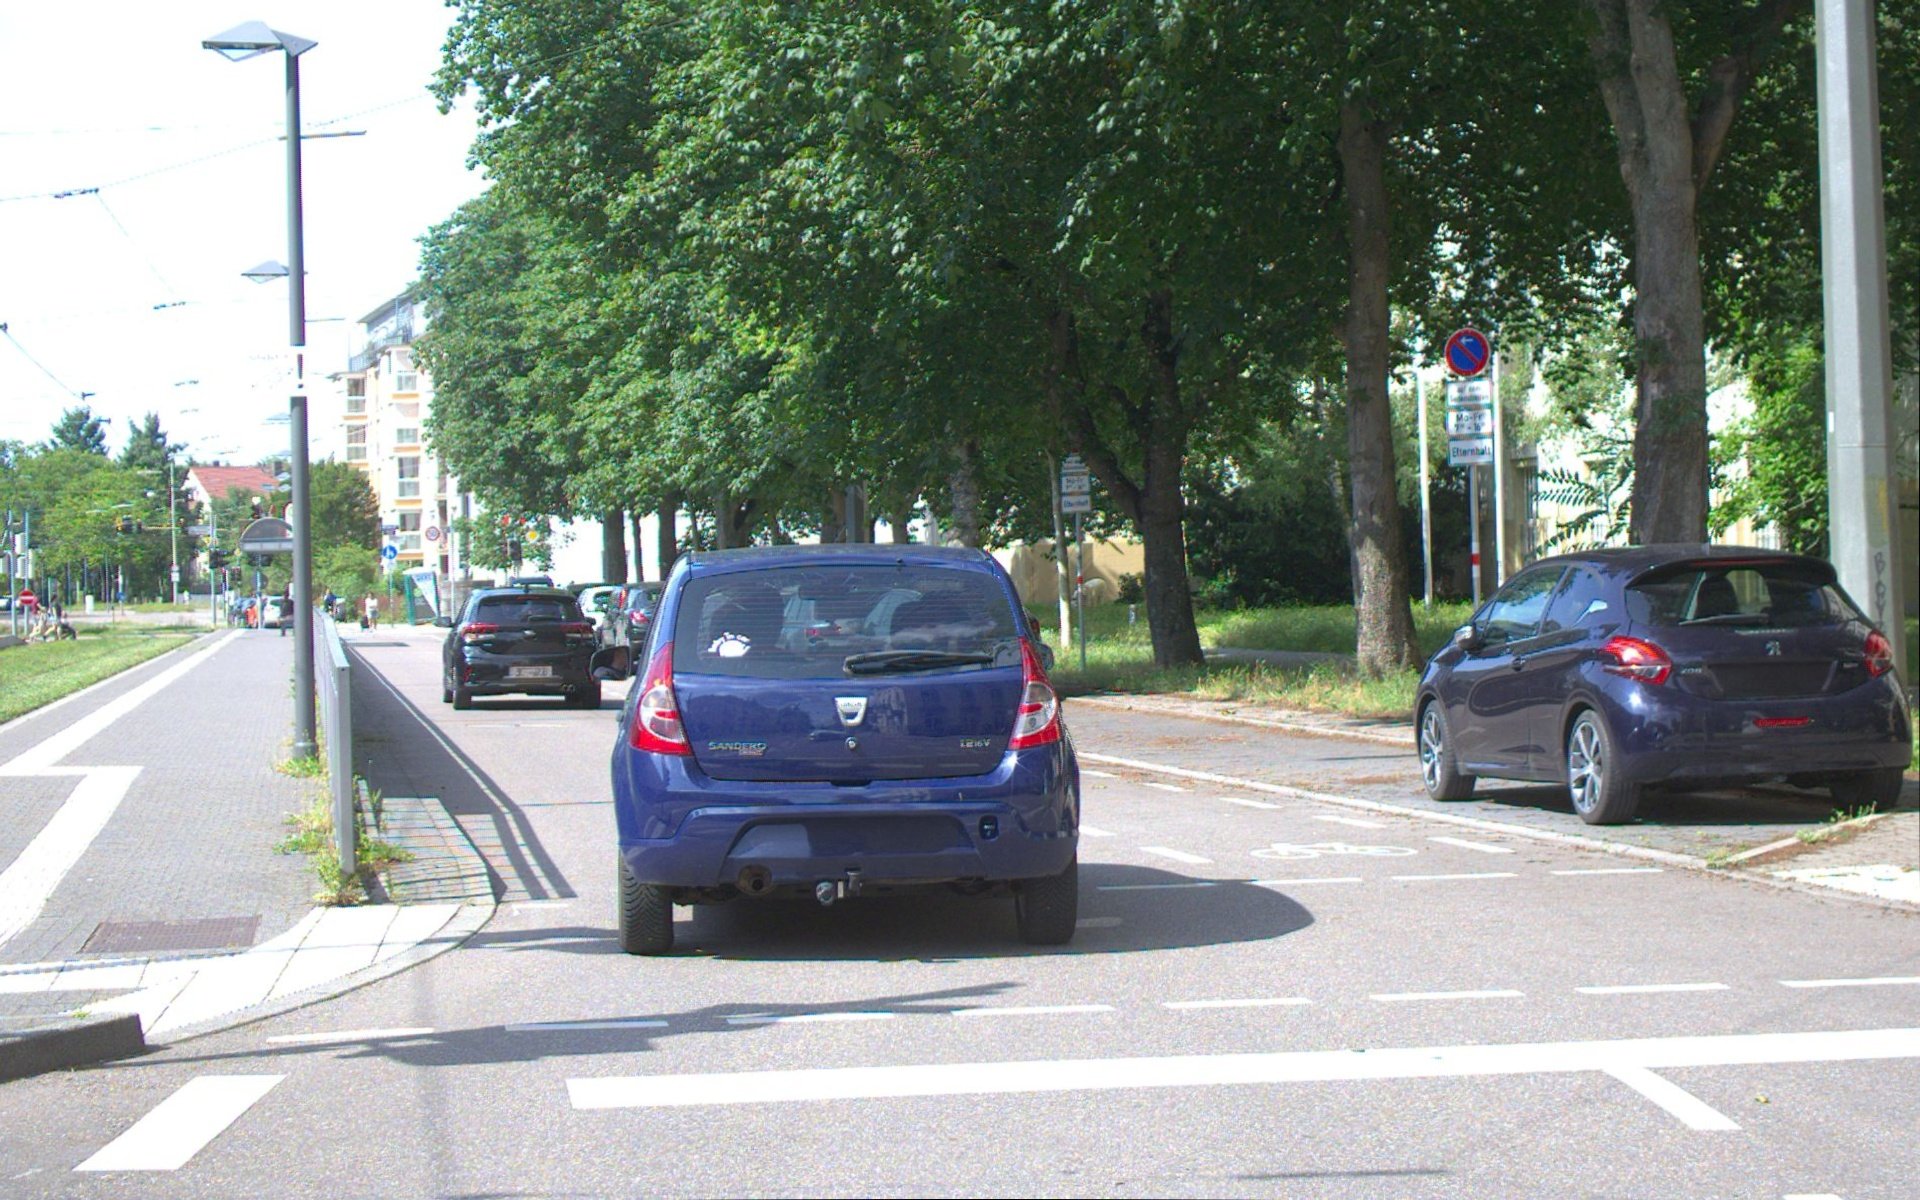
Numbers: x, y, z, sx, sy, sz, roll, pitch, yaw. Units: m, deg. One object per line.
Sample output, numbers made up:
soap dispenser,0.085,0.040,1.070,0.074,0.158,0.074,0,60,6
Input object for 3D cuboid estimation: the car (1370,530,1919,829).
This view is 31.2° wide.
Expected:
car,3.765,0.380,19.199,1.765,1.428,3.905,-2,1,-11

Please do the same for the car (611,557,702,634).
car,-6.510,-0.115,73.763,1.827,1.532,4.001,-2,1,-5

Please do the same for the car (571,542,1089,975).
car,-0.578,0.523,13.828,1.767,1.457,3.776,-1,1,-4

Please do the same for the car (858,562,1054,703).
car,-0.097,0.335,39.680,1.861,1.440,4.001,-3,1,-5

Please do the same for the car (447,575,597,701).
car,-5.209,0.423,41.199,1.699,1.363,3.515,-1,2,-6

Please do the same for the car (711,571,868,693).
car,-2.307,0.389,45.634,1.861,1.440,4.001,-3,1,-5

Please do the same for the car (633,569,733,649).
car,-5.508,0.157,68.288,1.861,1.440,4.001,-3,1,-5

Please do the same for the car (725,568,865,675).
car,-2.503,0.288,51.331,1.861,1.440,4.001,-3,1,-5

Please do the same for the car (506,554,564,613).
car,-13.218,-0.521,107.059,1.667,1.766,4.001,-2,1,-6

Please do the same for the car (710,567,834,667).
car,-3.094,0.249,55.952,1.851,1.510,4.001,-2,1,-5
